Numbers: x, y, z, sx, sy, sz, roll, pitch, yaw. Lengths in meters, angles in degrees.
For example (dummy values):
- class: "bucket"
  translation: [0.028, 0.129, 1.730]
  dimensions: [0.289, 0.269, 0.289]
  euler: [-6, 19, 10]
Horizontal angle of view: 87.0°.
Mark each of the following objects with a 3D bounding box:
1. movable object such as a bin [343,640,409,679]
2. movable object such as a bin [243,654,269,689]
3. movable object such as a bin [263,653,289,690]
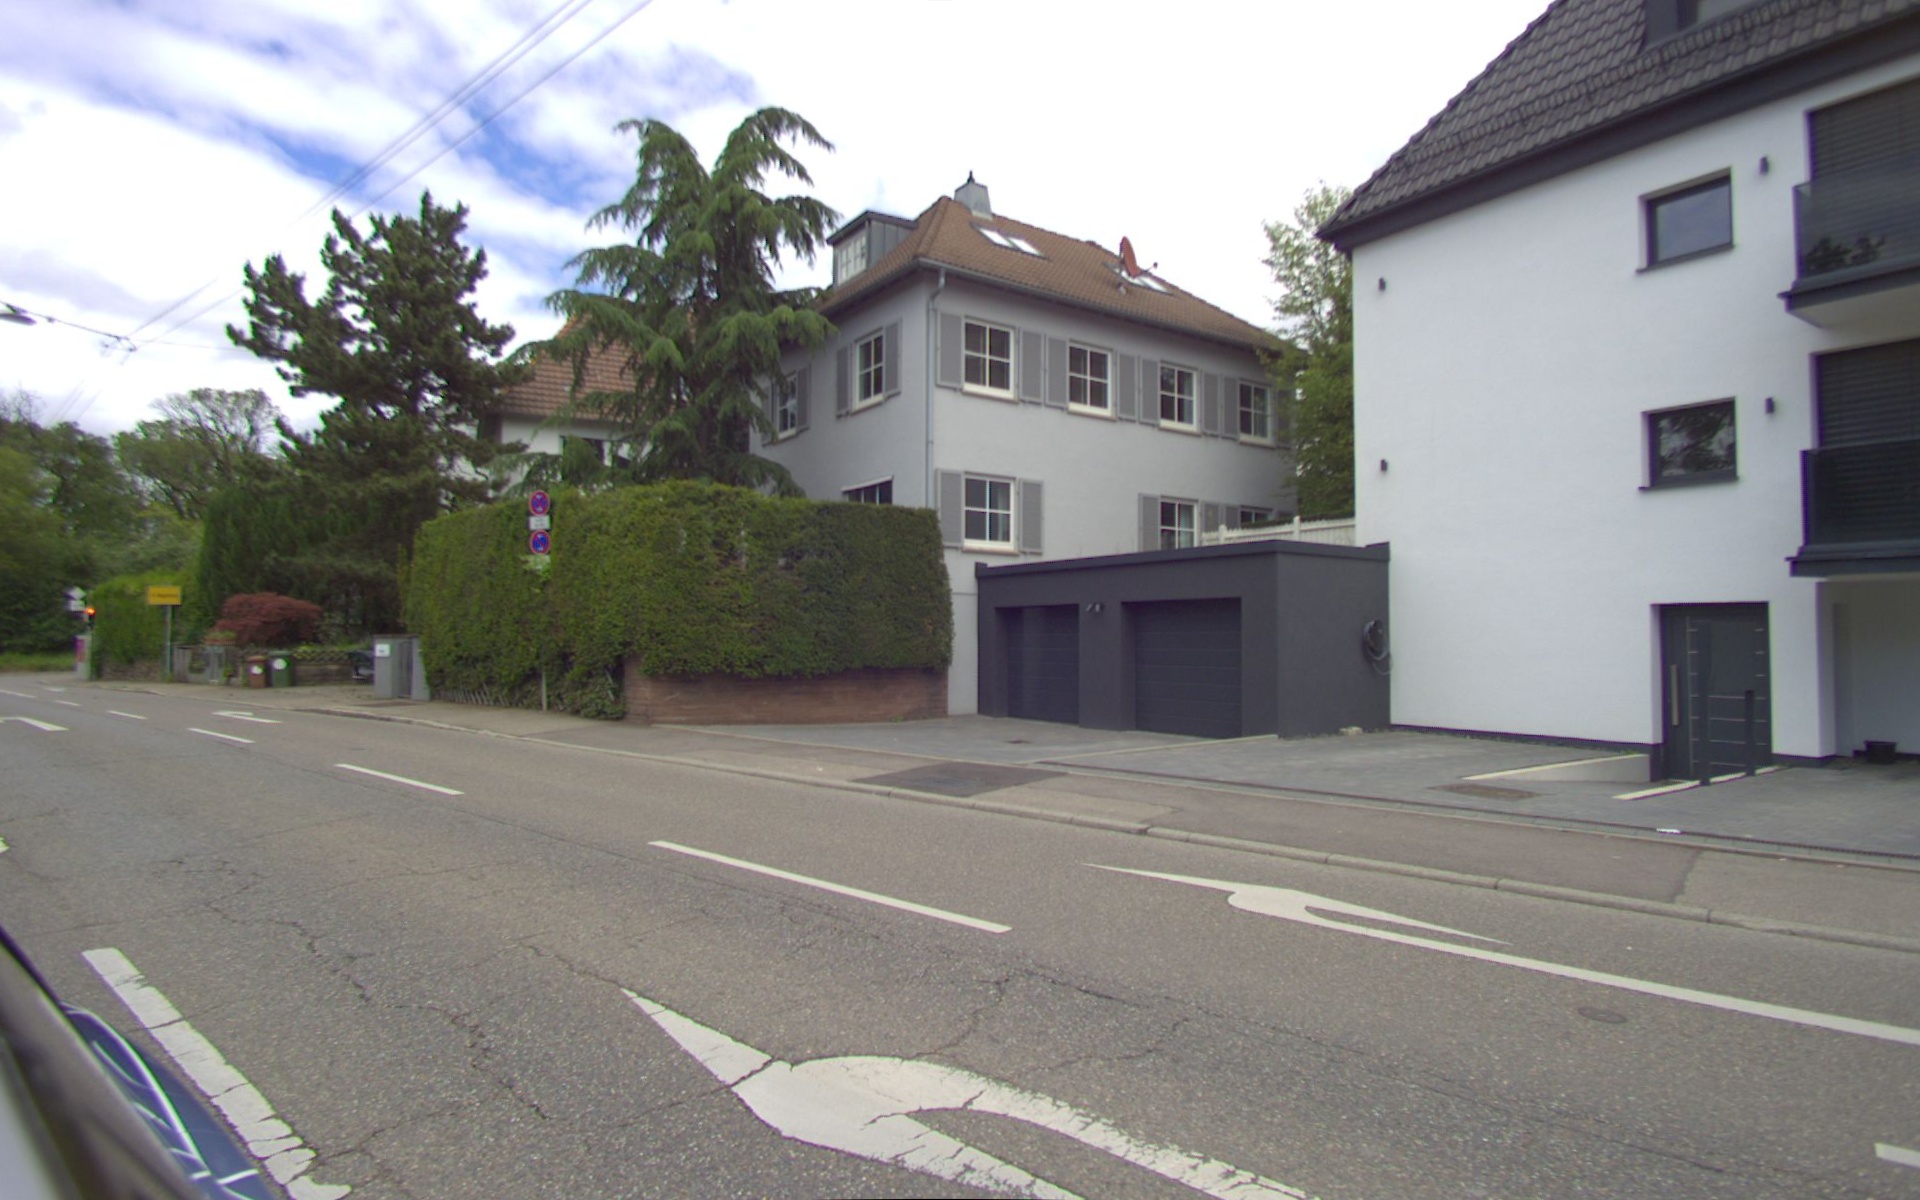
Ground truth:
- class: "movable object such as a bin"
  translation: [-17.329, 1.753, 30.055]
  dimensions: [1.570, 1.089, 0.719]
  euler: [-1, -2, -18]
- class: "movable object such as a bin"
  translation: [-20.300, 2.053, 29.190]
  dimensions: [0.457, 0.949, 0.649]
  euler: [0, -2, -21]
- class: "movable object such as a bin"
  translation: [-19.831, 2.057, 29.344]
  dimensions: [0.472, 1.042, 0.718]
  euler: [0, -2, -21]
